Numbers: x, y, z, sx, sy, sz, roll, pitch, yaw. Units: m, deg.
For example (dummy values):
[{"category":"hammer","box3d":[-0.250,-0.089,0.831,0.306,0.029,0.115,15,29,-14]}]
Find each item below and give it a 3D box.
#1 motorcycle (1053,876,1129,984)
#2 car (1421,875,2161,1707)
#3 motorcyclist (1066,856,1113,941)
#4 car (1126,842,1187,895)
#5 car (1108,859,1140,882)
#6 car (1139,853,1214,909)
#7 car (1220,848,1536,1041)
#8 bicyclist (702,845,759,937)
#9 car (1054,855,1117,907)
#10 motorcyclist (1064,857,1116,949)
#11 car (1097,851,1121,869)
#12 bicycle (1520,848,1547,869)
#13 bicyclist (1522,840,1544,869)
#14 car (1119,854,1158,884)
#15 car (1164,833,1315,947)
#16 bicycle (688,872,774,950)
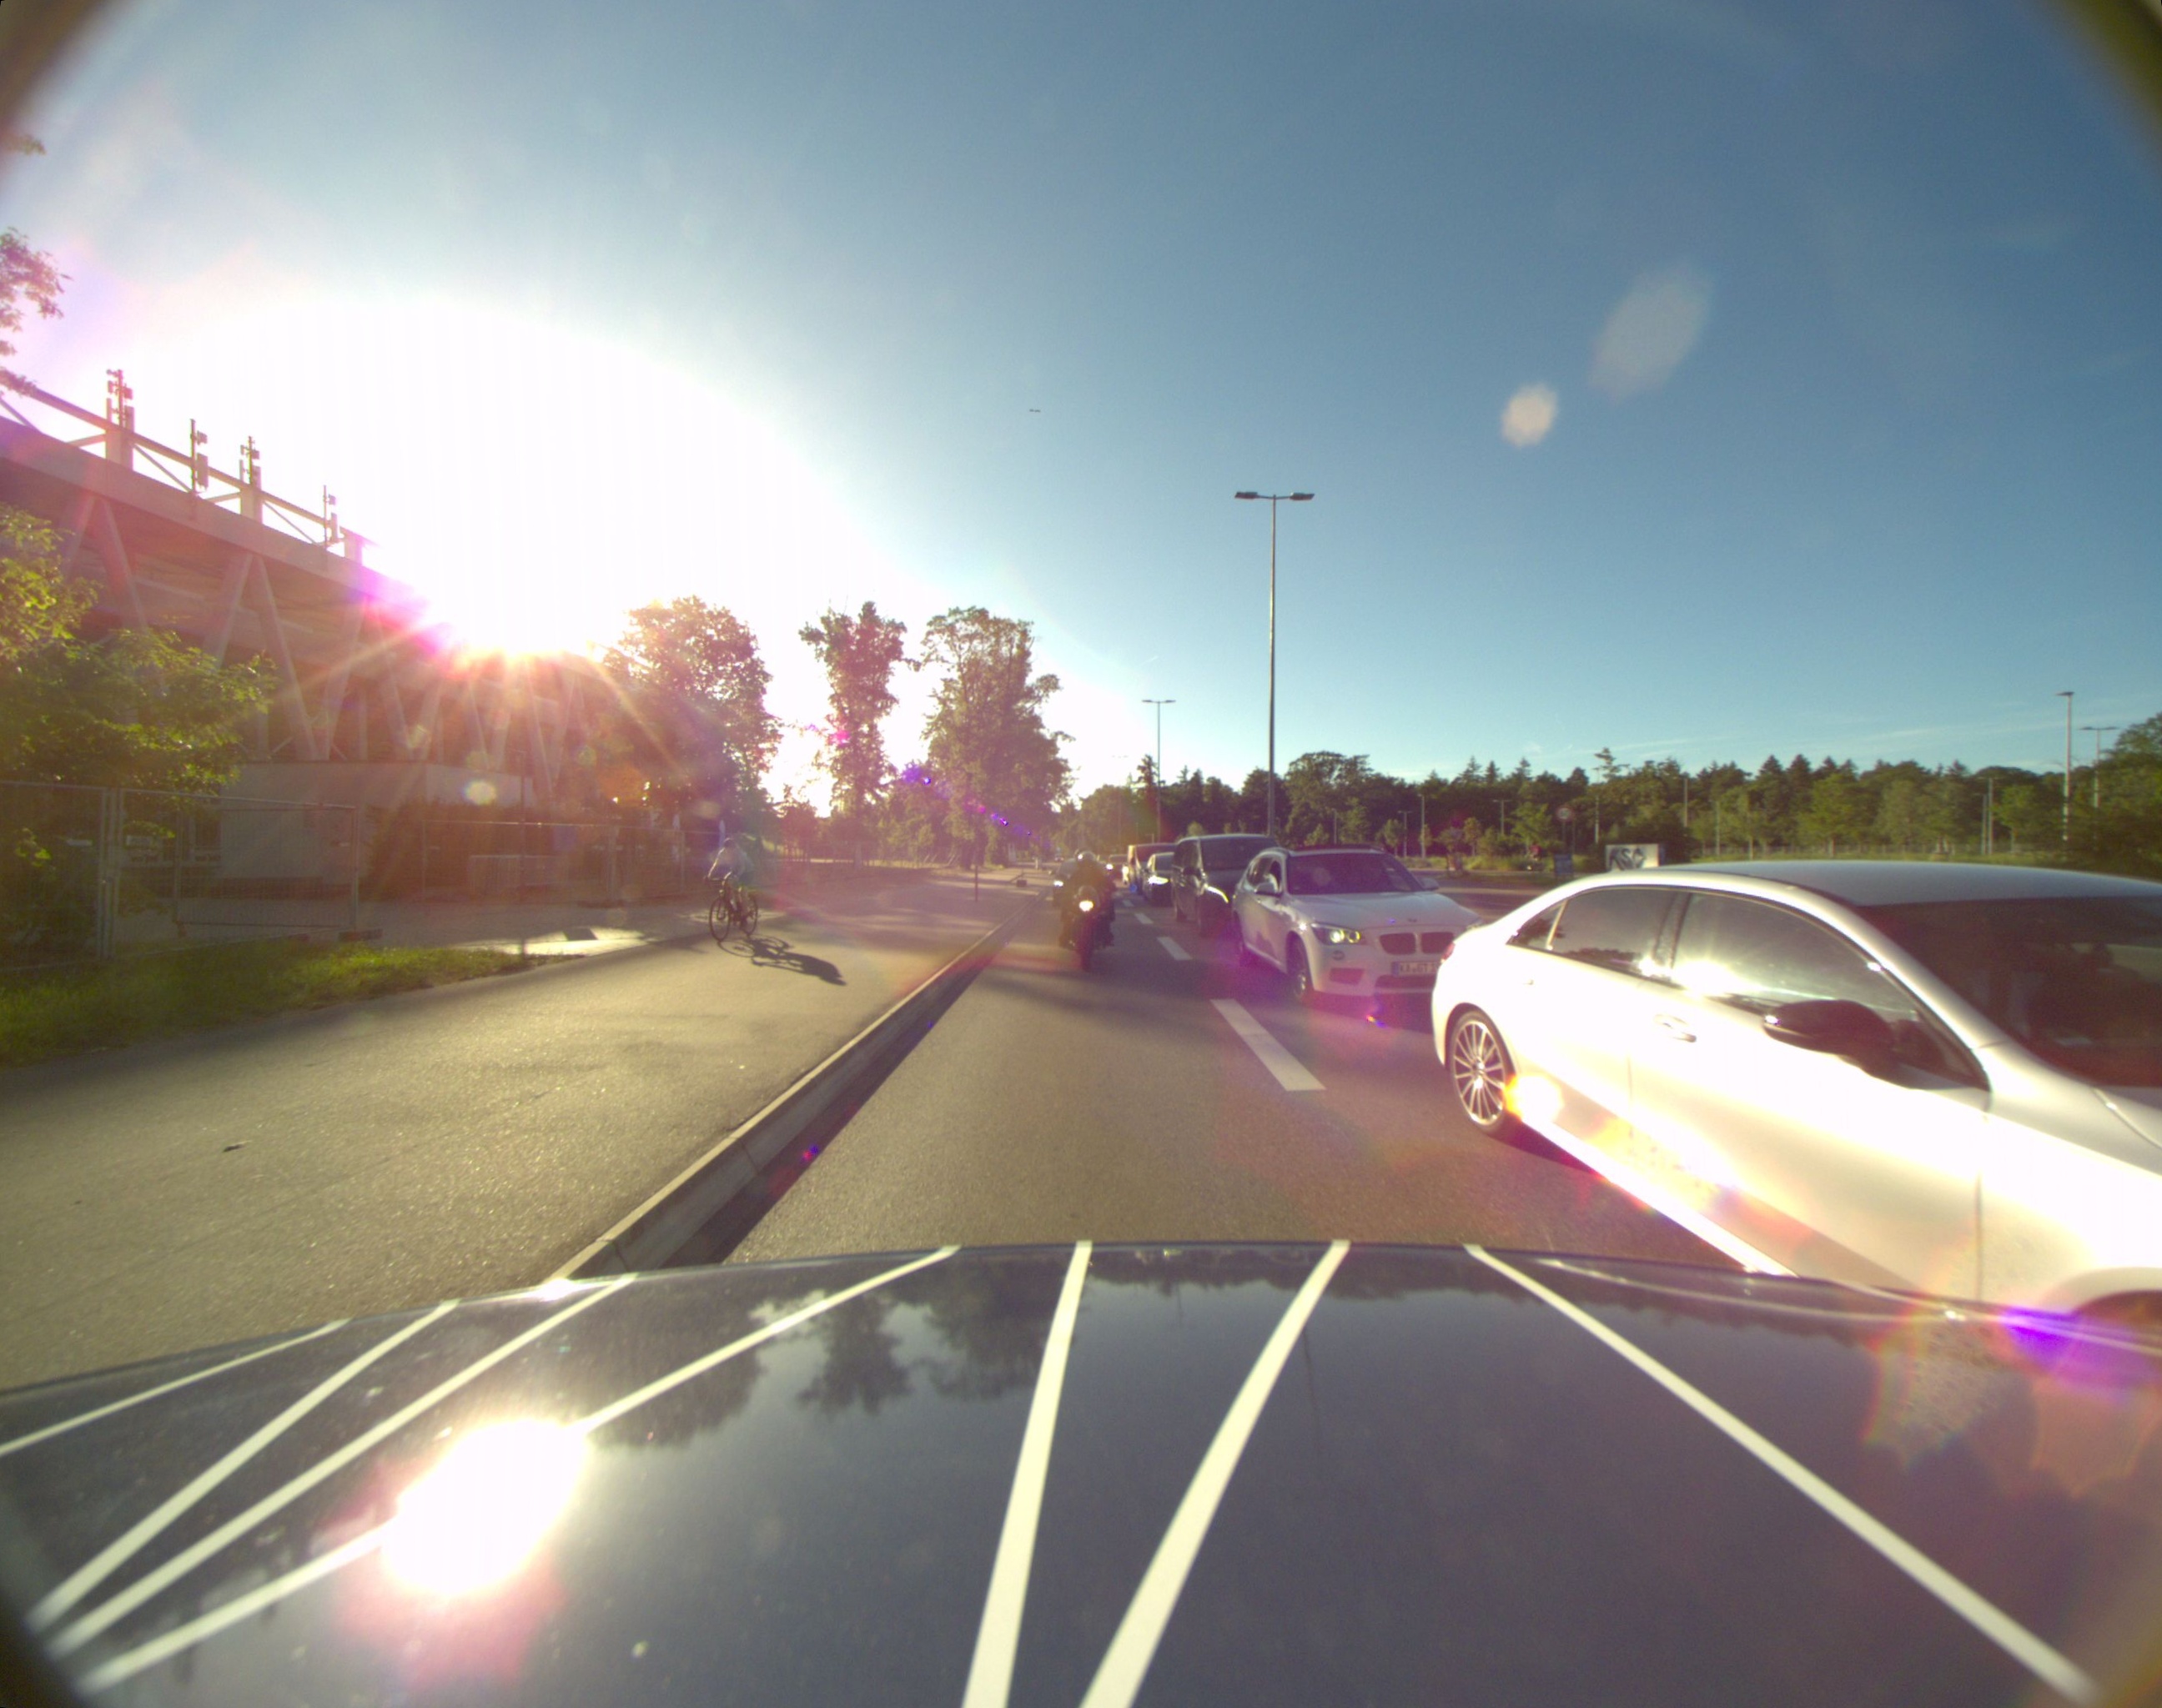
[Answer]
[{"category":"motorcycle","box3d":[0.142,1.014,11.127,0.916,1.243,2.962,-2,0,1]},{"category":"car","box3d":[2.821,0.861,2.297,1.661,1.418,4.318,-2,0,1]},{"category":"motorcyclist","box3d":[0.128,0.676,11.909,0.671,1.257,0.826,-2,1,1]},{"category":"car","box3d":[2.966,0.532,30.753,1.867,1.882,5.067,-2,0,-1]},{"category":"car","box3d":[2.921,1.110,52.533,1.896,1.389,4.639,-2,1,-1]},{"category":"car","box3d":[2.870,0.763,23.626,1.736,1.560,4.103,-2,0,-1]},{"category":"car","box3d":[2.897,0.755,8.540,1.797,1.574,4.320,-2,0,-1]},{"category":"bicyclist","box3d":[-5.774,0.583,12.554,0.521,1.460,0.861,0,1,1]},{"category":"car","box3d":[0.118,0.834,25.668,1.867,1.538,4.795,-2,0,-1]},{"category":"motorcyclist","box3d":[0.130,0.683,11.059,0.671,1.257,0.826,-2,1,1]},{"category":"car","box3d":[2.458,0.517,67.487,1.896,1.479,4.639,-2,1,-1]},{"category":"bicycle","box3d":[22.805,0.213,38.314,0.584,1.013,1.362,-2,1,1]},{"category":"bicyclist","box3d":[22.724,0.013,38.210,0.593,1.405,0.800,-2,1,2]},{"category":"car","box3d":[2.949,0.730,39.878,1.605,1.389,4.639,-2,1,-1]},{"category":"car","box3d":[2.952,0.595,15.386,1.885,1.862,5.234,-2,0,-1]},{"category":"bicycle","box3d":[-5.776,0.904,12.657,0.555,1.131,1.864,1,1,1]}]
